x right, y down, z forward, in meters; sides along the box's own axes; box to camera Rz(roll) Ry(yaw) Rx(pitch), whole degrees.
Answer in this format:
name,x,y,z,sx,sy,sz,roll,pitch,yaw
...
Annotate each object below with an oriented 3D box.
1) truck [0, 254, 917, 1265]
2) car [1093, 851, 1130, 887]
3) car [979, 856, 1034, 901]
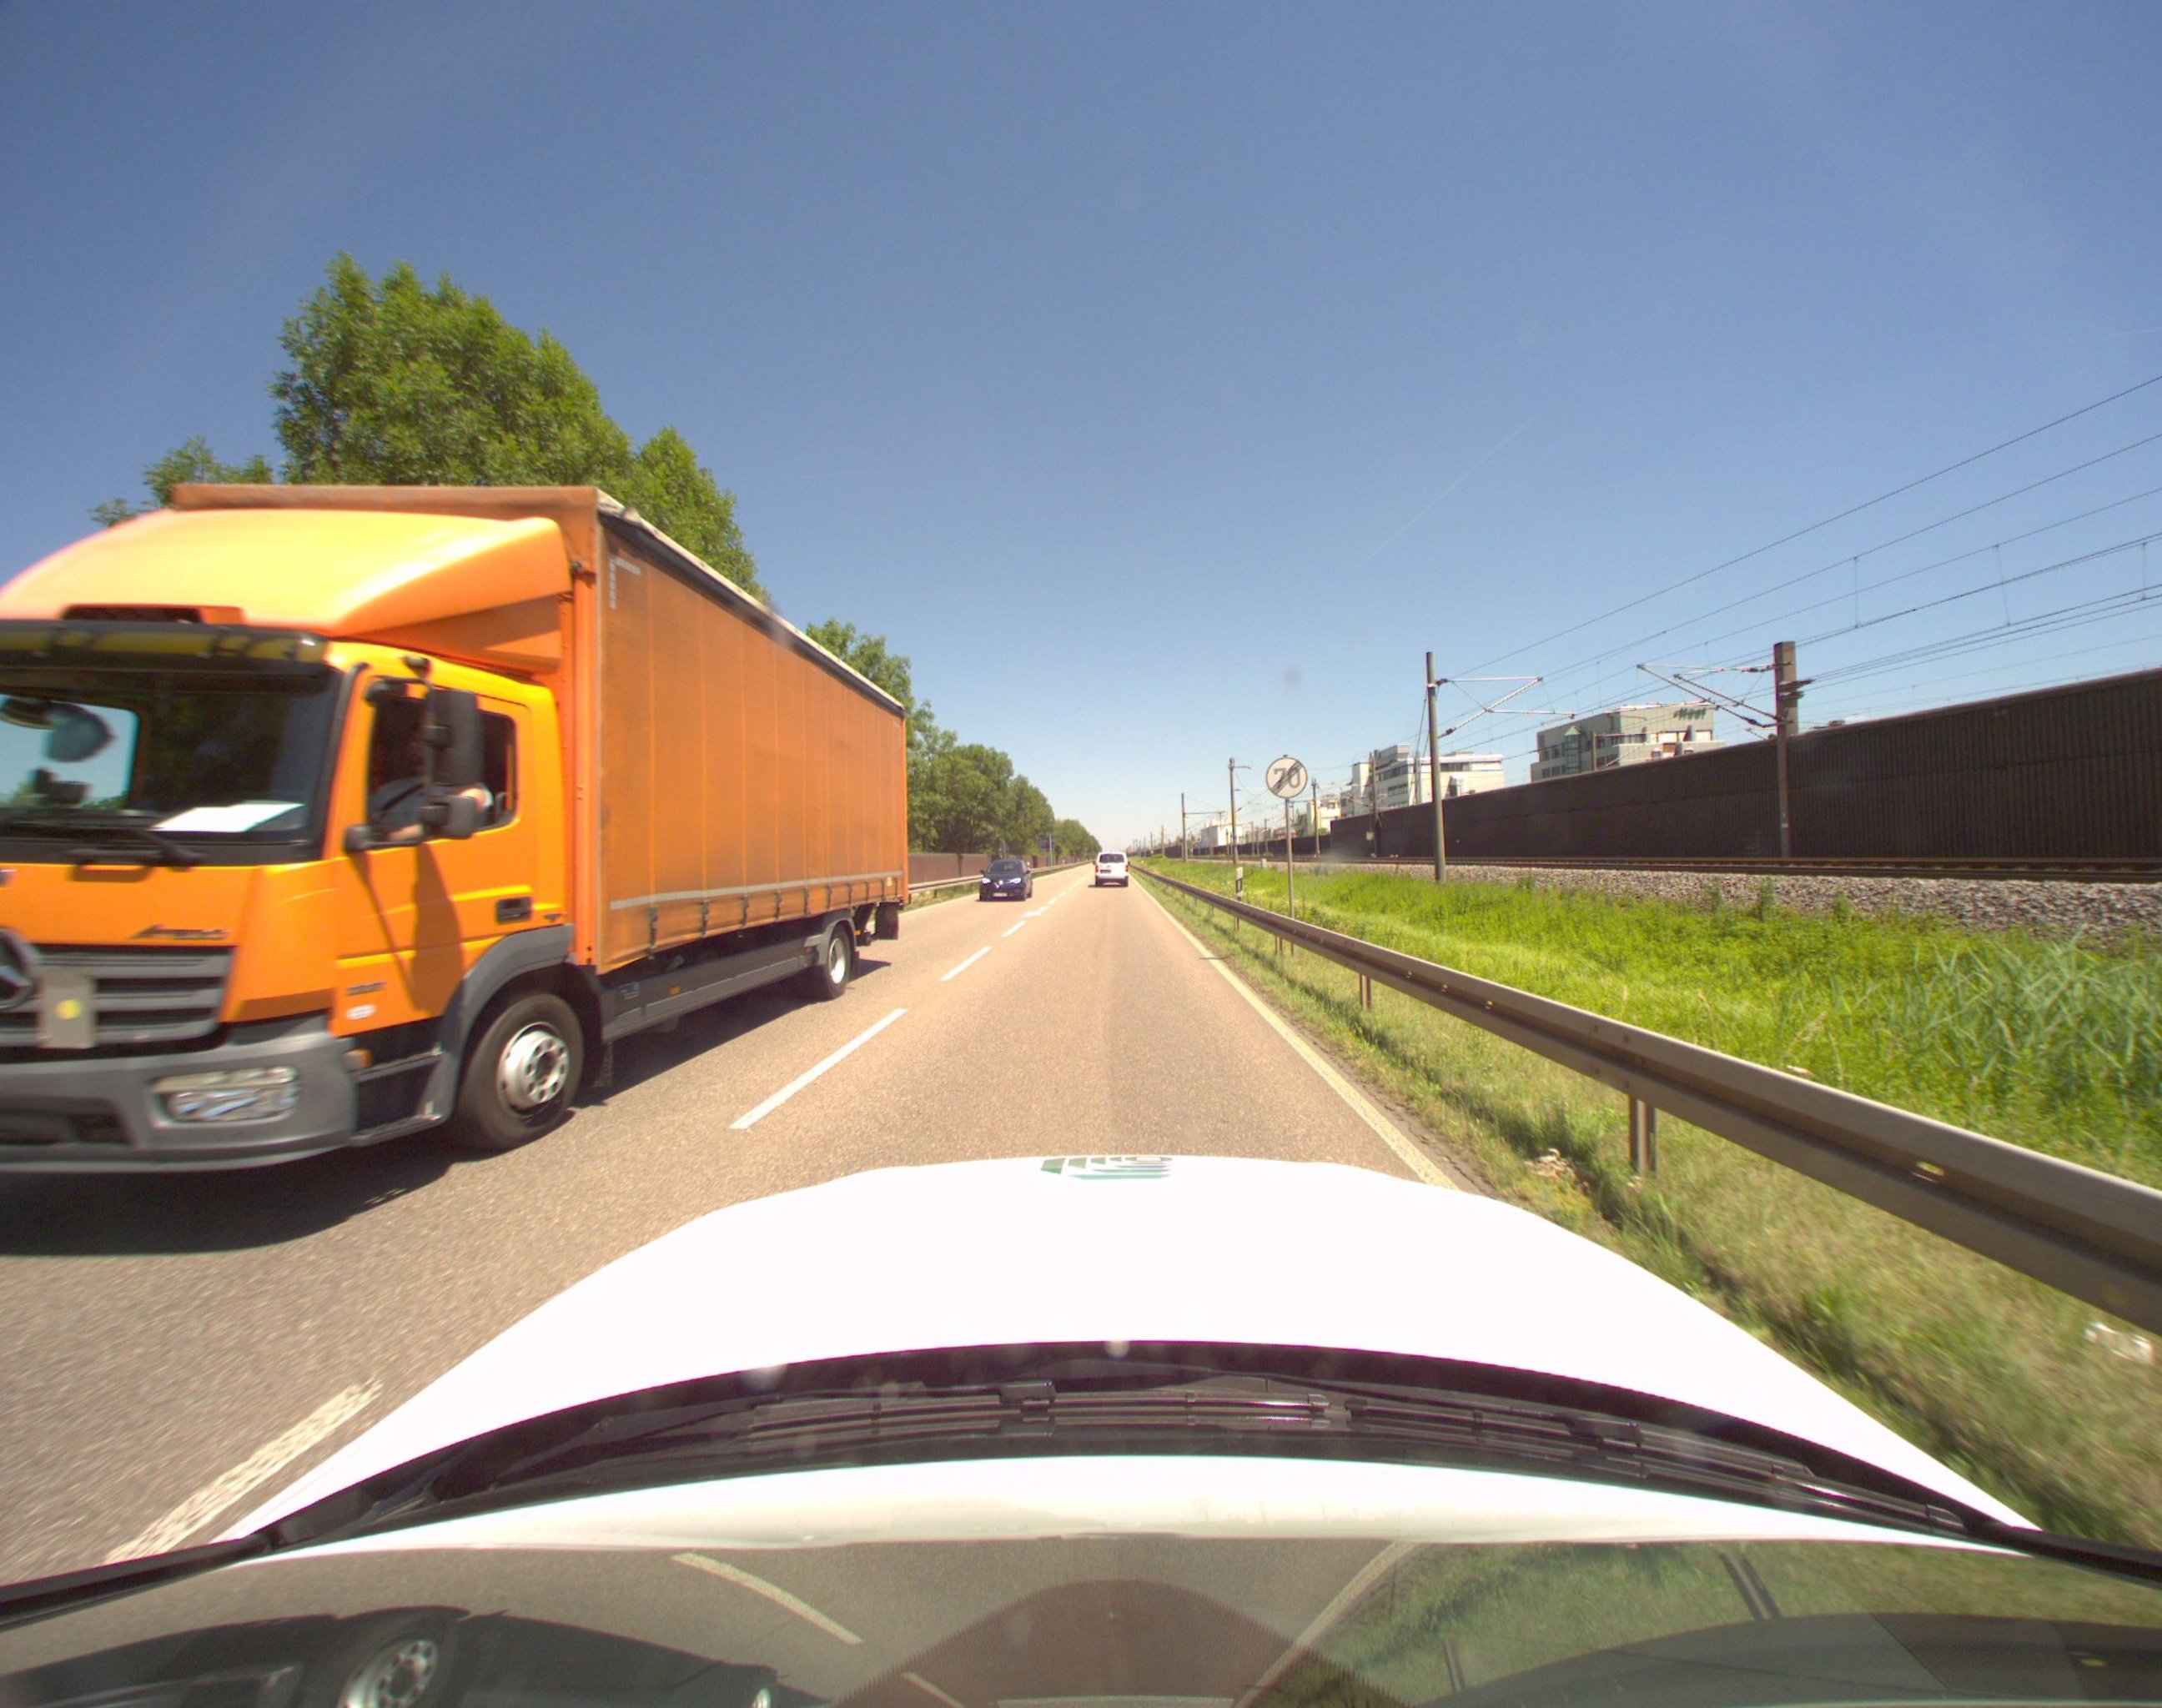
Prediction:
name,x,y,z,sx,sy,sz,roll,pitch,yaw
truck,-4.076,-0.324,7.778,2.781,3.840,9.327,-1,-1,2
car,1.752,0.834,46.401,1.938,1.881,4.883,-1,-1,2
car,-2.819,0.916,31.591,1.616,1.577,3.765,-1,0,2
